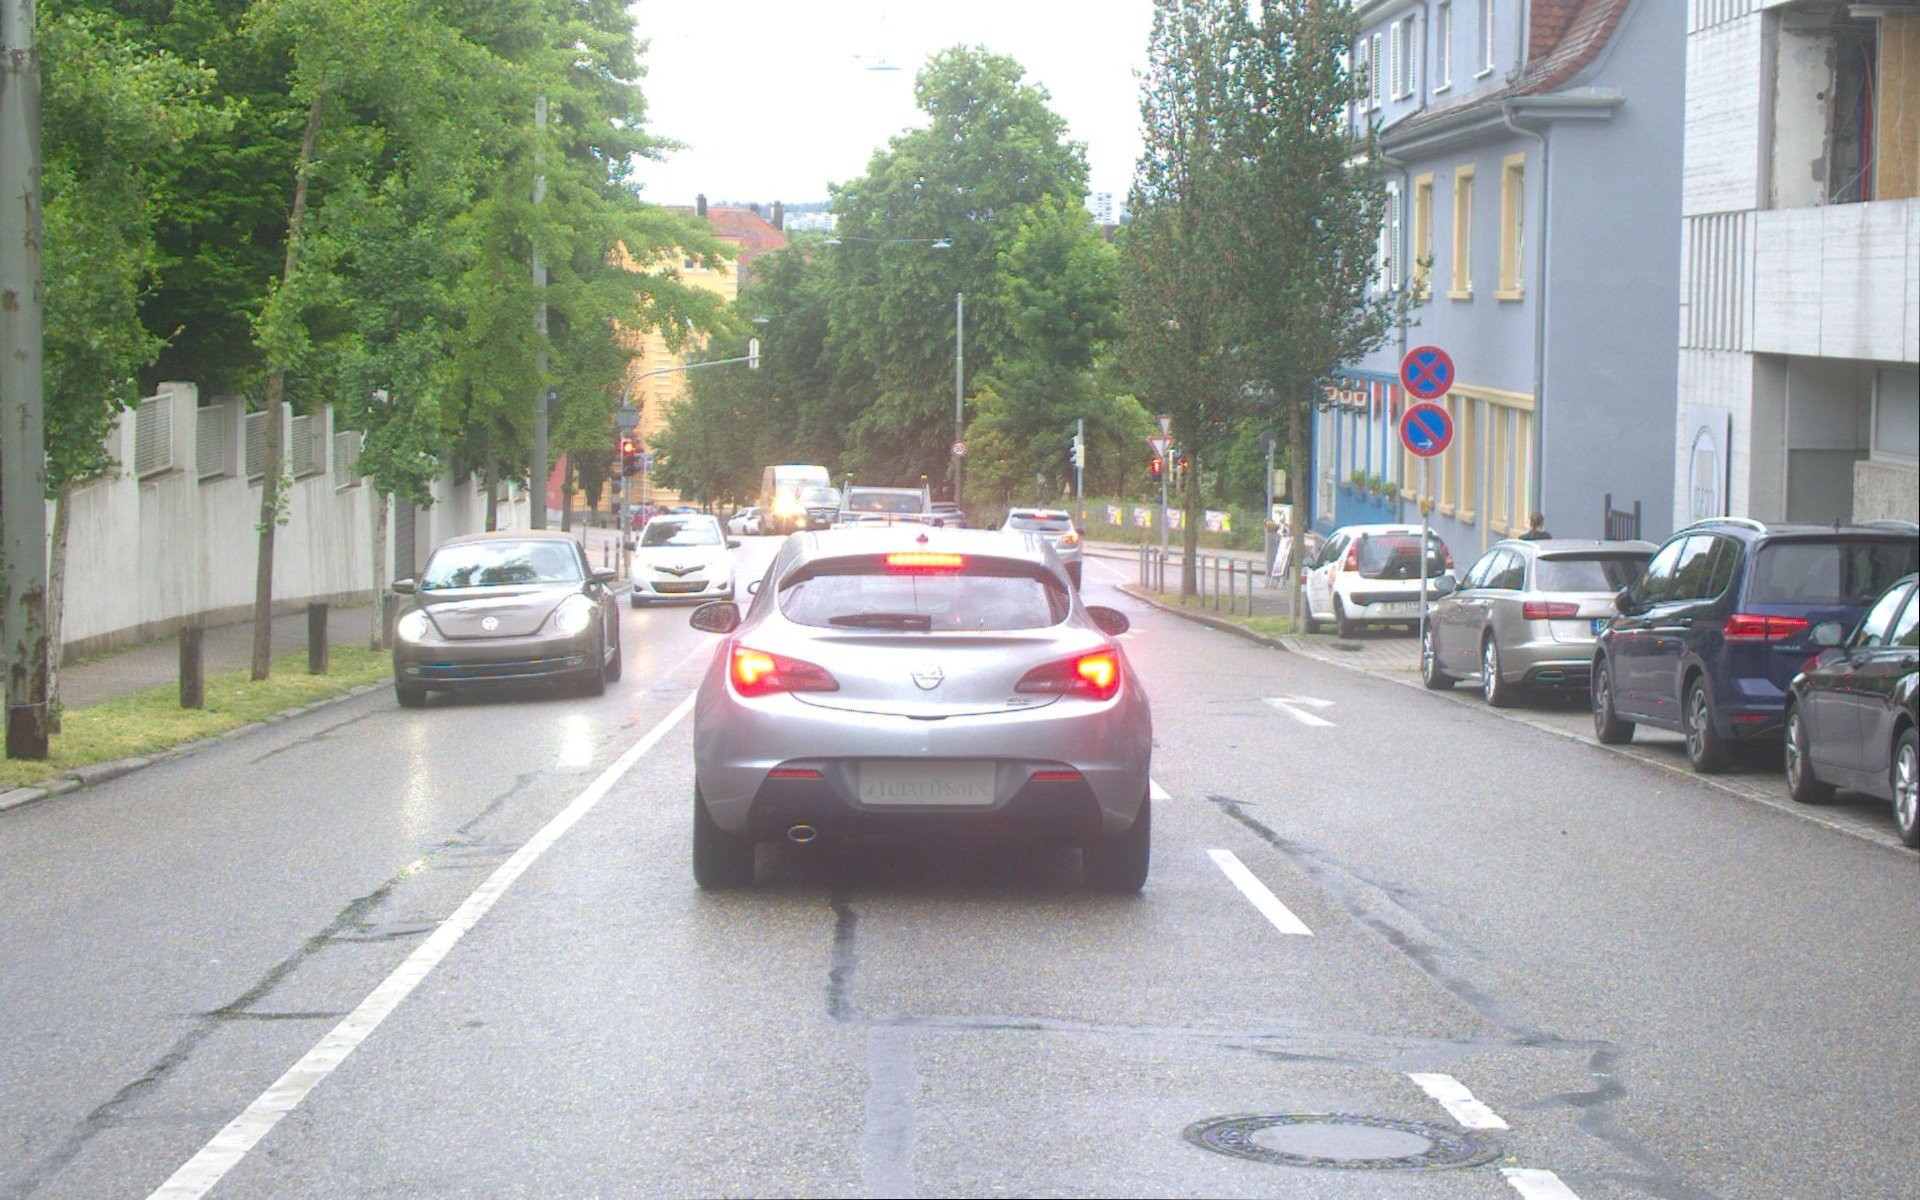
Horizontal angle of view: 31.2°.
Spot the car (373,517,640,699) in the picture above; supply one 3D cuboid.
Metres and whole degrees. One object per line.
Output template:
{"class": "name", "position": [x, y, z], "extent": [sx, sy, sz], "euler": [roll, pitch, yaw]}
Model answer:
{"class": "car", "position": [-4.029, 0.019, 31.144], "extent": [1.850, 1.464, 4.088], "euler": [-3, 1, 0]}

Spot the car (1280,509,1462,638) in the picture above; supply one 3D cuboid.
{"class": "car", "position": [5.407, -0.391, 45.674], "extent": [1.906, 1.565, 4.001], "euler": [0, 2, 0]}

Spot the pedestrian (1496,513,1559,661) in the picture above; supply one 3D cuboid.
{"class": "pedestrian", "position": [6.953, -0.161, 42.135], "extent": [0.645, 1.778, 0.542], "euler": [1, 2, -1]}

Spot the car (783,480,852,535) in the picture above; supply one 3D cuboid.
{"class": "car", "position": [-4.530, -2.971, 109.834], "extent": [1.993, 1.530, 4.309], "euler": [4, 2, -1]}

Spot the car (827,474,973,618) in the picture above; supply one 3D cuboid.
{"class": "car", "position": [-0.876, -0.785, 47.670], "extent": [1.768, 1.775, 3.977], "euler": [4, 2, -3]}

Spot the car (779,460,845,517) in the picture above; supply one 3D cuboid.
{"class": "car", "position": [-5.029, -3.818, 117.384], "extent": [1.993, 1.778, 4.001], "euler": [4, 2, -1]}

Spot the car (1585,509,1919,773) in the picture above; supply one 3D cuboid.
{"class": "car", "position": [5.443, 0.200, 23.232], "extent": [1.685, 1.565, 4.001], "euler": [0, 2, 0]}

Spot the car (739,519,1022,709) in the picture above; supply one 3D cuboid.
{"class": "car", "position": [-0.696, 0.066, 26.777], "extent": [1.797, 1.318, 4.001], "euler": [2, 1, -7]}

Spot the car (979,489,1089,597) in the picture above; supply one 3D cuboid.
{"class": "car", "position": [1.527, -1.233, 72.655], "extent": [1.993, 2.029, 4.736], "euler": [4, 2, -1]}

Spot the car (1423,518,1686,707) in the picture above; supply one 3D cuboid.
{"class": "car", "position": [5.242, 0.053, 30.804], "extent": [1.584, 1.488, 4.290], "euler": [0, 2, 0]}

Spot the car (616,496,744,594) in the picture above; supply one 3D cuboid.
{"class": "car", "position": [-4.705, -0.954, 58.274], "extent": [1.822, 1.474, 3.864], "euler": [-3, 2, 0]}

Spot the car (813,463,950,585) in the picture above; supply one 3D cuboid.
{"class": "car", "position": [-1.447, -1.451, 63.902], "extent": [2.334, 2.029, 4.736], "euler": [4, 2, -1]}

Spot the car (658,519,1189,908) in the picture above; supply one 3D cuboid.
{"class": "car", "position": [-0.301, 0.388, 14.884], "extent": [1.945, 1.427, 3.885], "euler": [1, 2, -6]}

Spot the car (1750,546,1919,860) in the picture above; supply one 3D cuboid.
{"class": "car", "position": [5.576, 0.491, 18.528], "extent": [1.681, 1.459, 4.001], "euler": [0, 2, 0]}
